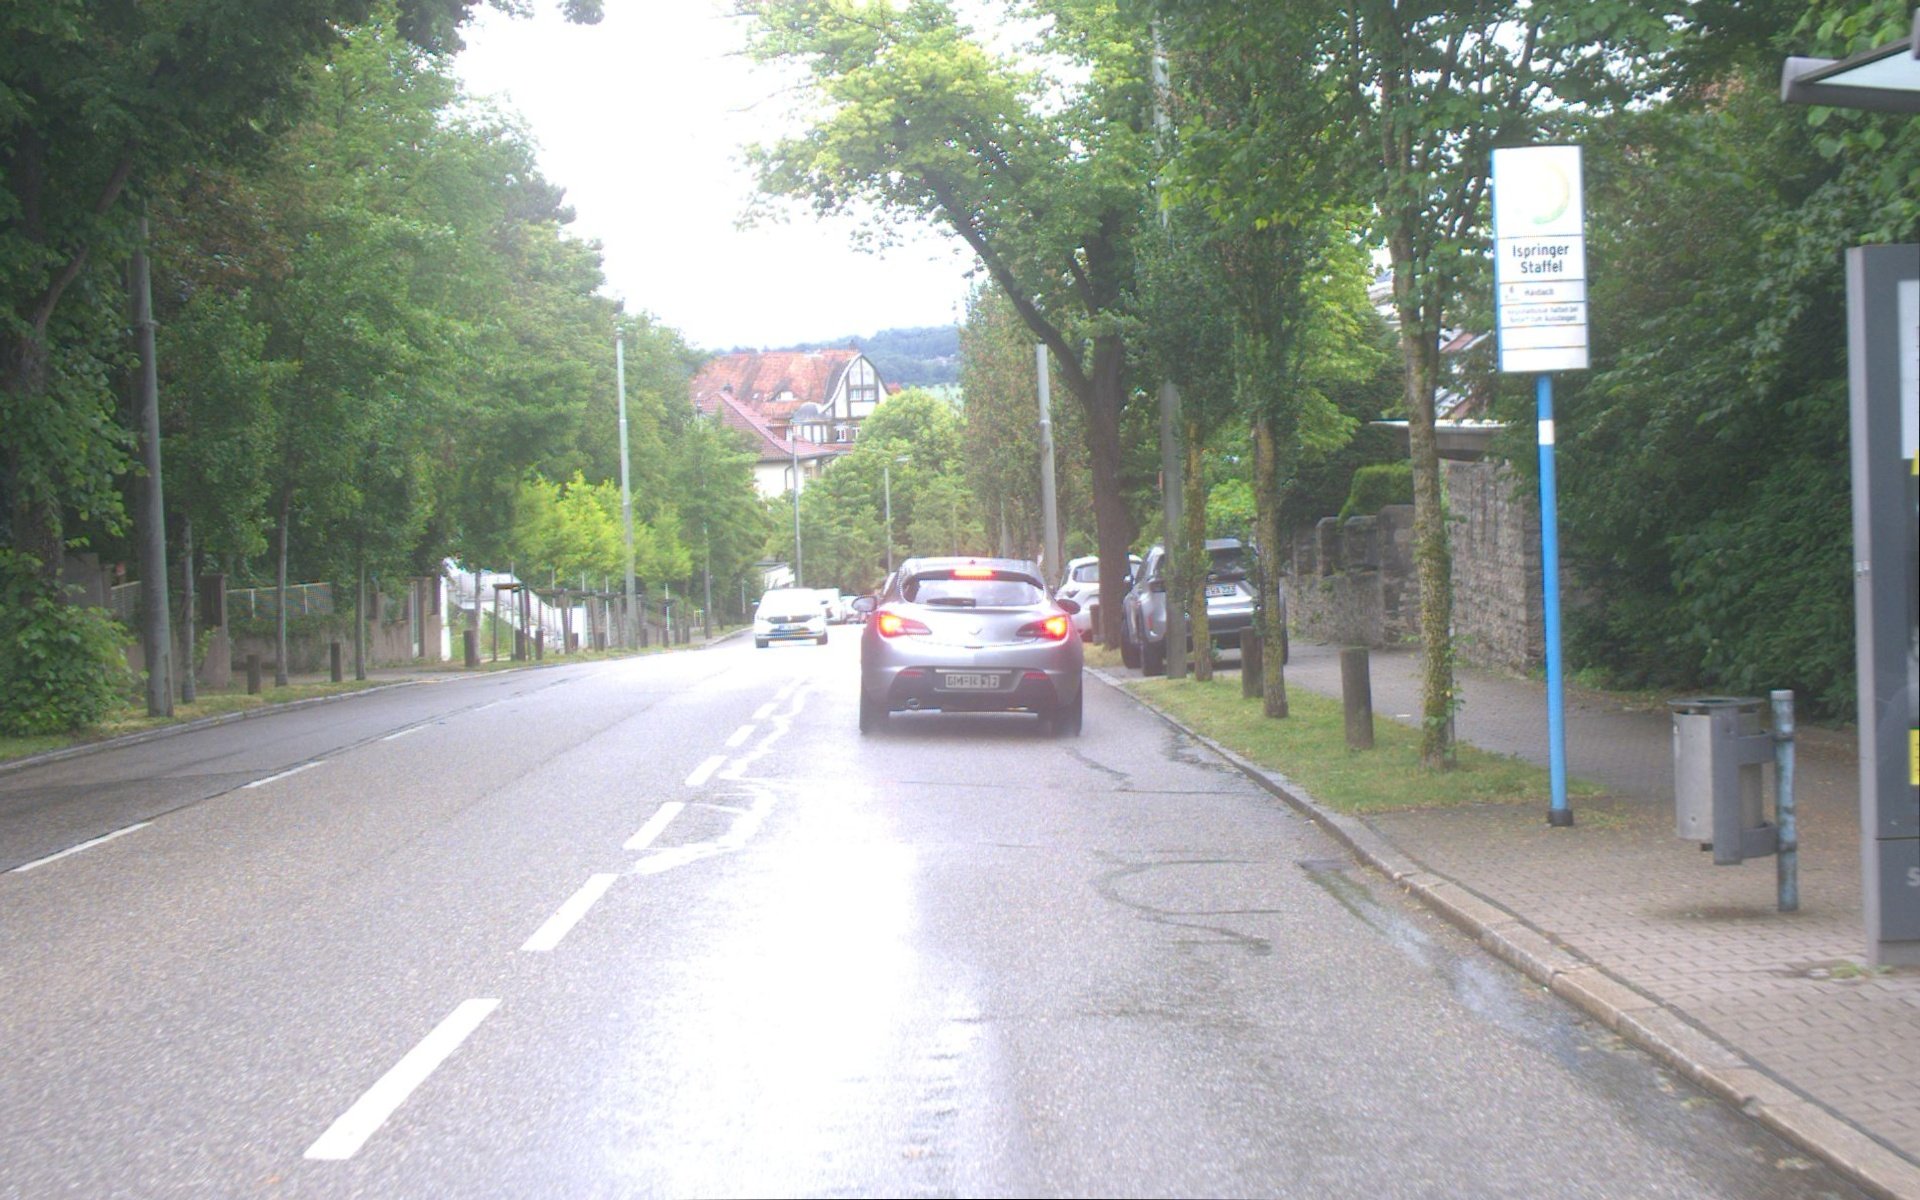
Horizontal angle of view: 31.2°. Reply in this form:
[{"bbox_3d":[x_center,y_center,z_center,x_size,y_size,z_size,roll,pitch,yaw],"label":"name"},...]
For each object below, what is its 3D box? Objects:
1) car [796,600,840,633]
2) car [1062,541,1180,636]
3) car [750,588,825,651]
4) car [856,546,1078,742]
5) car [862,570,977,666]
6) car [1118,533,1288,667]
[{"bbox_3d":[-6.465,0.755,157.037,1.721,1.459,4.000,1,0,1],"label":"car"},{"bbox_3d":[2.661,-0.219,57.439,1.721,1.459,4.000,2,1,0],"label":"car"},{"bbox_3d":[-4.420,0.479,88.512,1.721,1.459,4.000,2,1,-1],"label":"car"},{"bbox_3d":[0.075,0.321,29.364,1.754,1.459,4.000,1,2,1],"label":"car"},{"bbox_3d":[-0.638,0.298,54.615,1.754,1.459,4.000,0,-1,0],"label":"car"},{"bbox_3d":[2.936,-0.039,42.281,1.721,1.459,4.000,-3,1,0],"label":"car"}]
